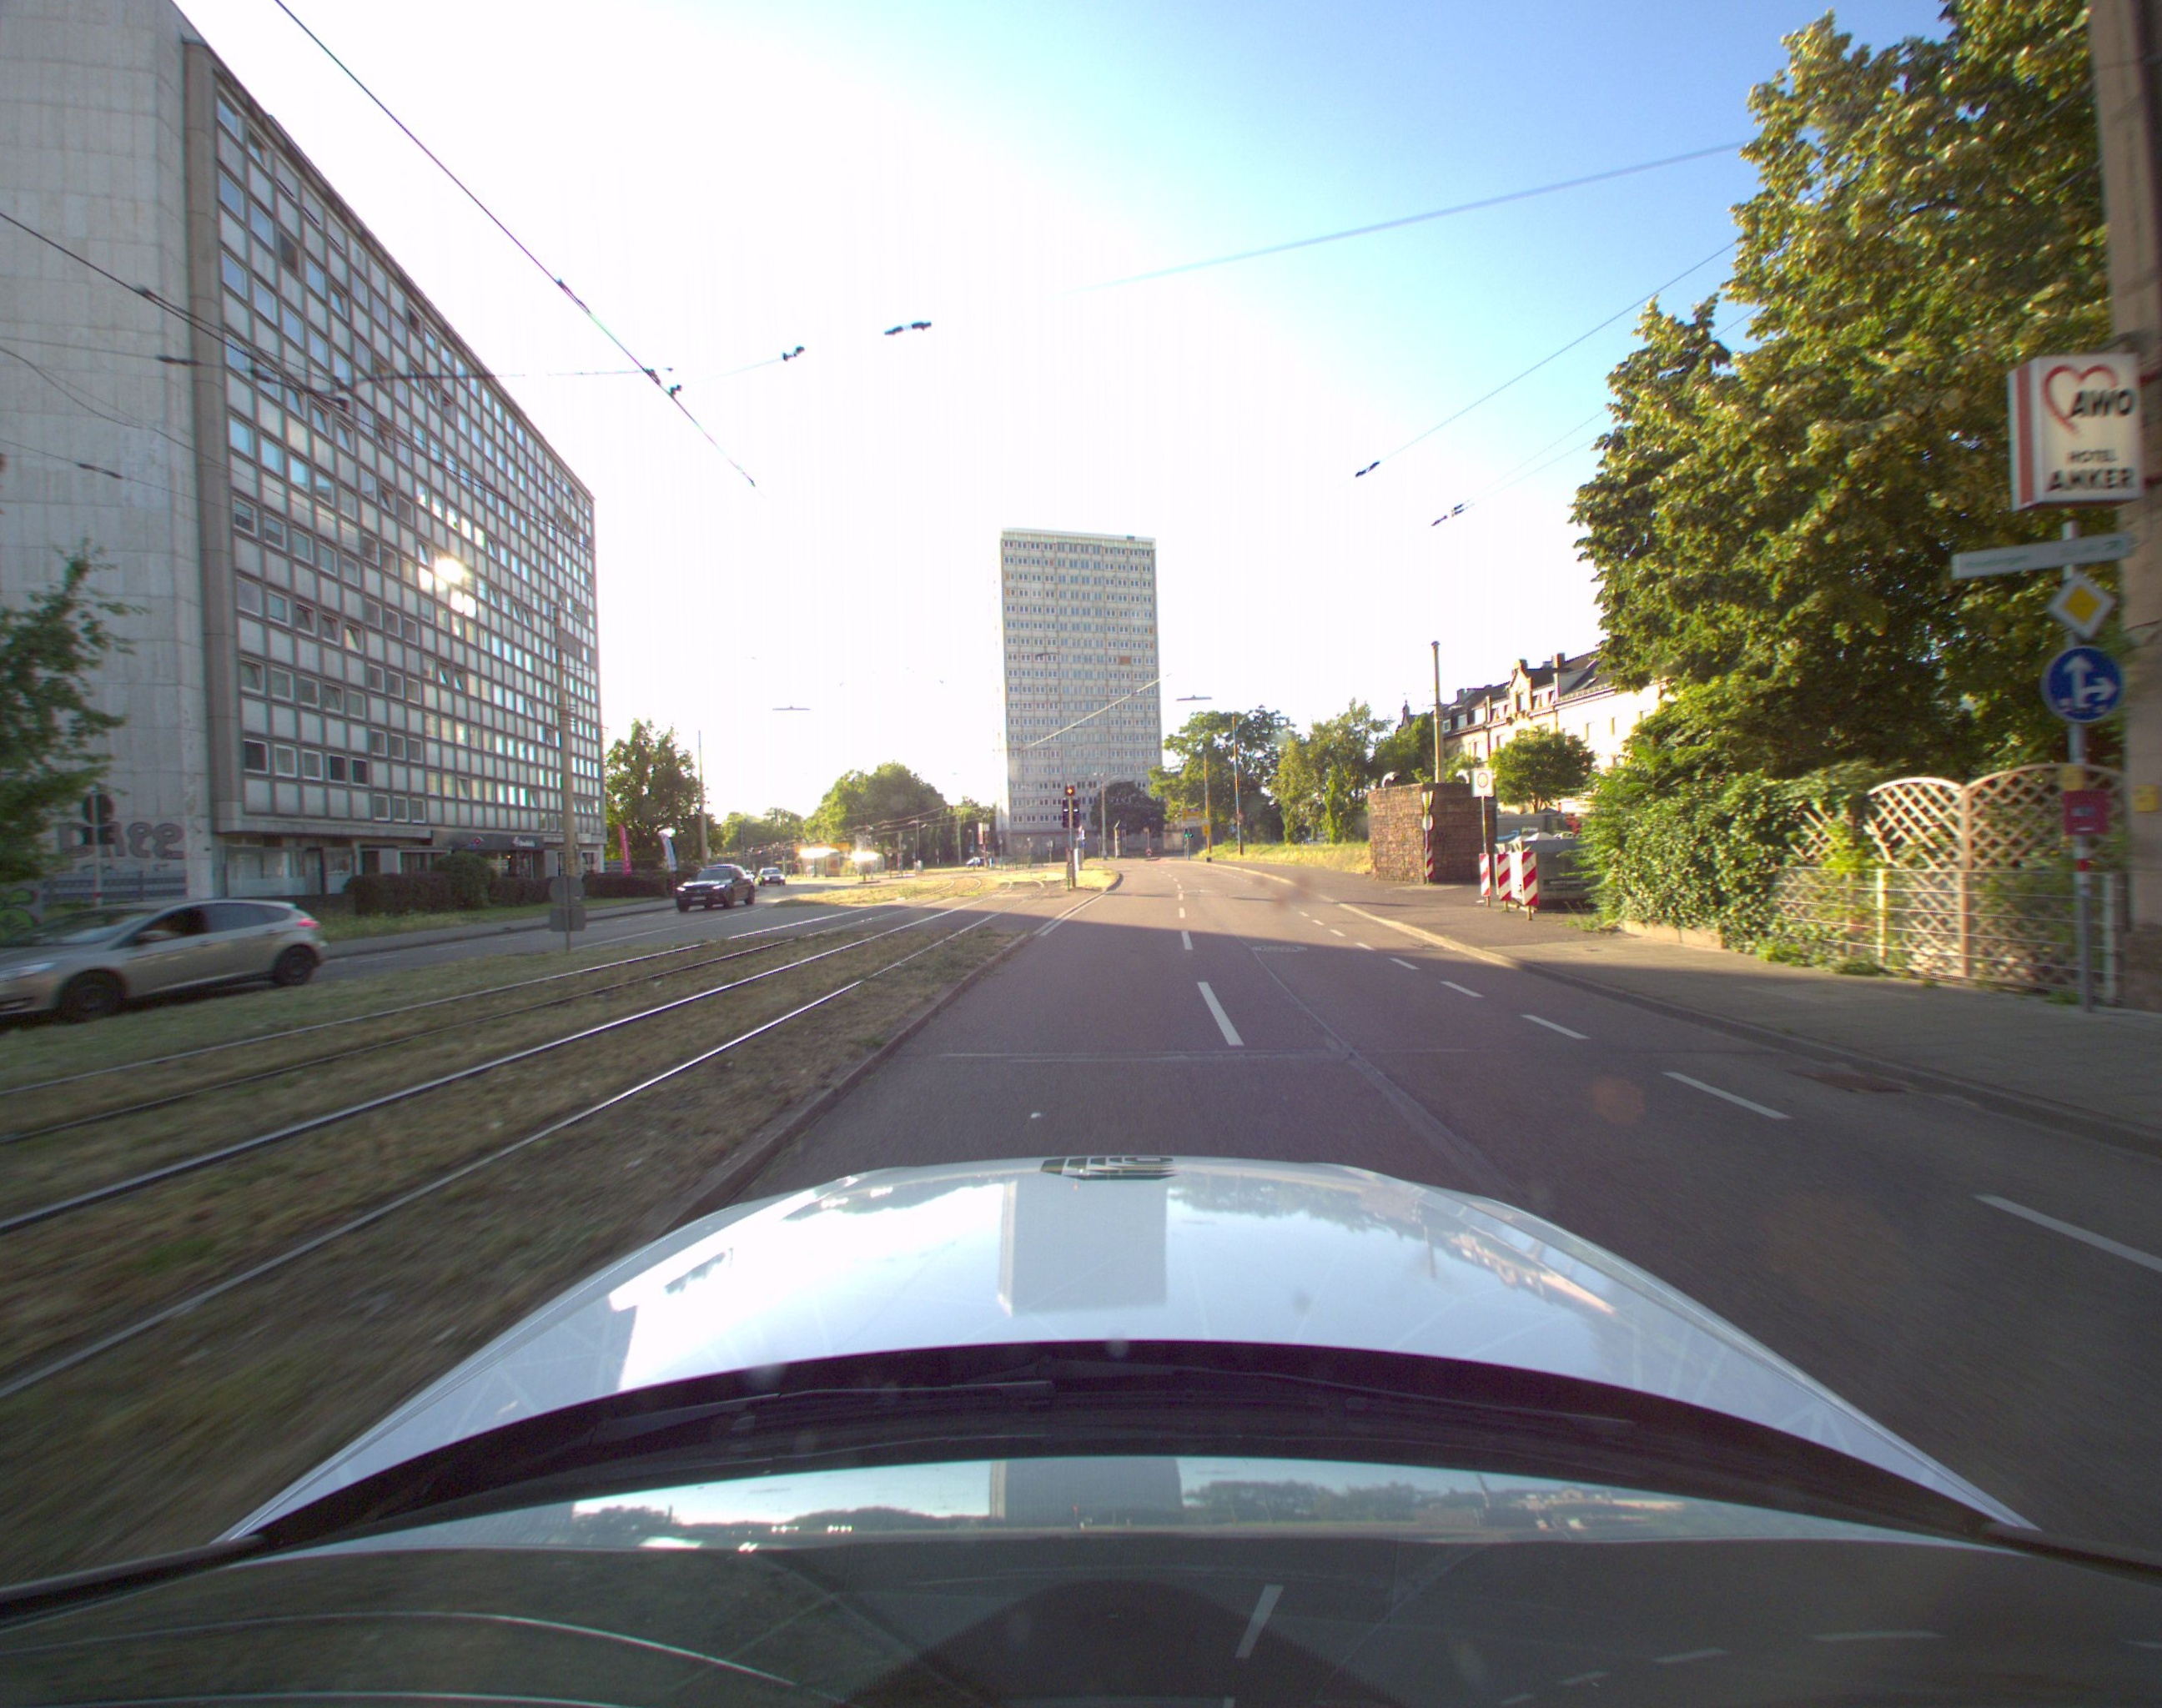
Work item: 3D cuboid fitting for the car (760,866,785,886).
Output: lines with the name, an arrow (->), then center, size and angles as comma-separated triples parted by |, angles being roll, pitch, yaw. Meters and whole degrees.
car -> -25.954, 1.853, 68.540 | 1.783, 1.481, 4.369 | -5, 0, -20

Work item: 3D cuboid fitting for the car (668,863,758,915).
car -> -14.267, 1.291, 31.855 | 1.917, 1.662, 4.694 | -3, 1, -9

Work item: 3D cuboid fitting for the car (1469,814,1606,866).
car -> 21.762, -0.618, 39.077 | 2.050, 2.214, 5.361 | -2, 0, -31

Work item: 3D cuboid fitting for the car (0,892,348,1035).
car -> -13.134, 1.412, 11.485 | 1.693, 1.460, 4.312 | -4, 0, -2

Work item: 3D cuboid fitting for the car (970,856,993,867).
car -> -13.476, 1.002, 110.128 | 1.782, 1.422, 3.822 | -3, 0, -27

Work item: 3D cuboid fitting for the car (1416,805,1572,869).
car -> 18.811, -0.708, 37.492 | 2.050, 2.666, 6.153 | -3, 0, -31

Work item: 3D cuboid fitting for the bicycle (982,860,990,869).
bicycle -> -11.221, 1.242, 96.106 | 0.551, 0.917, 1.745 | -4, 0, 4
